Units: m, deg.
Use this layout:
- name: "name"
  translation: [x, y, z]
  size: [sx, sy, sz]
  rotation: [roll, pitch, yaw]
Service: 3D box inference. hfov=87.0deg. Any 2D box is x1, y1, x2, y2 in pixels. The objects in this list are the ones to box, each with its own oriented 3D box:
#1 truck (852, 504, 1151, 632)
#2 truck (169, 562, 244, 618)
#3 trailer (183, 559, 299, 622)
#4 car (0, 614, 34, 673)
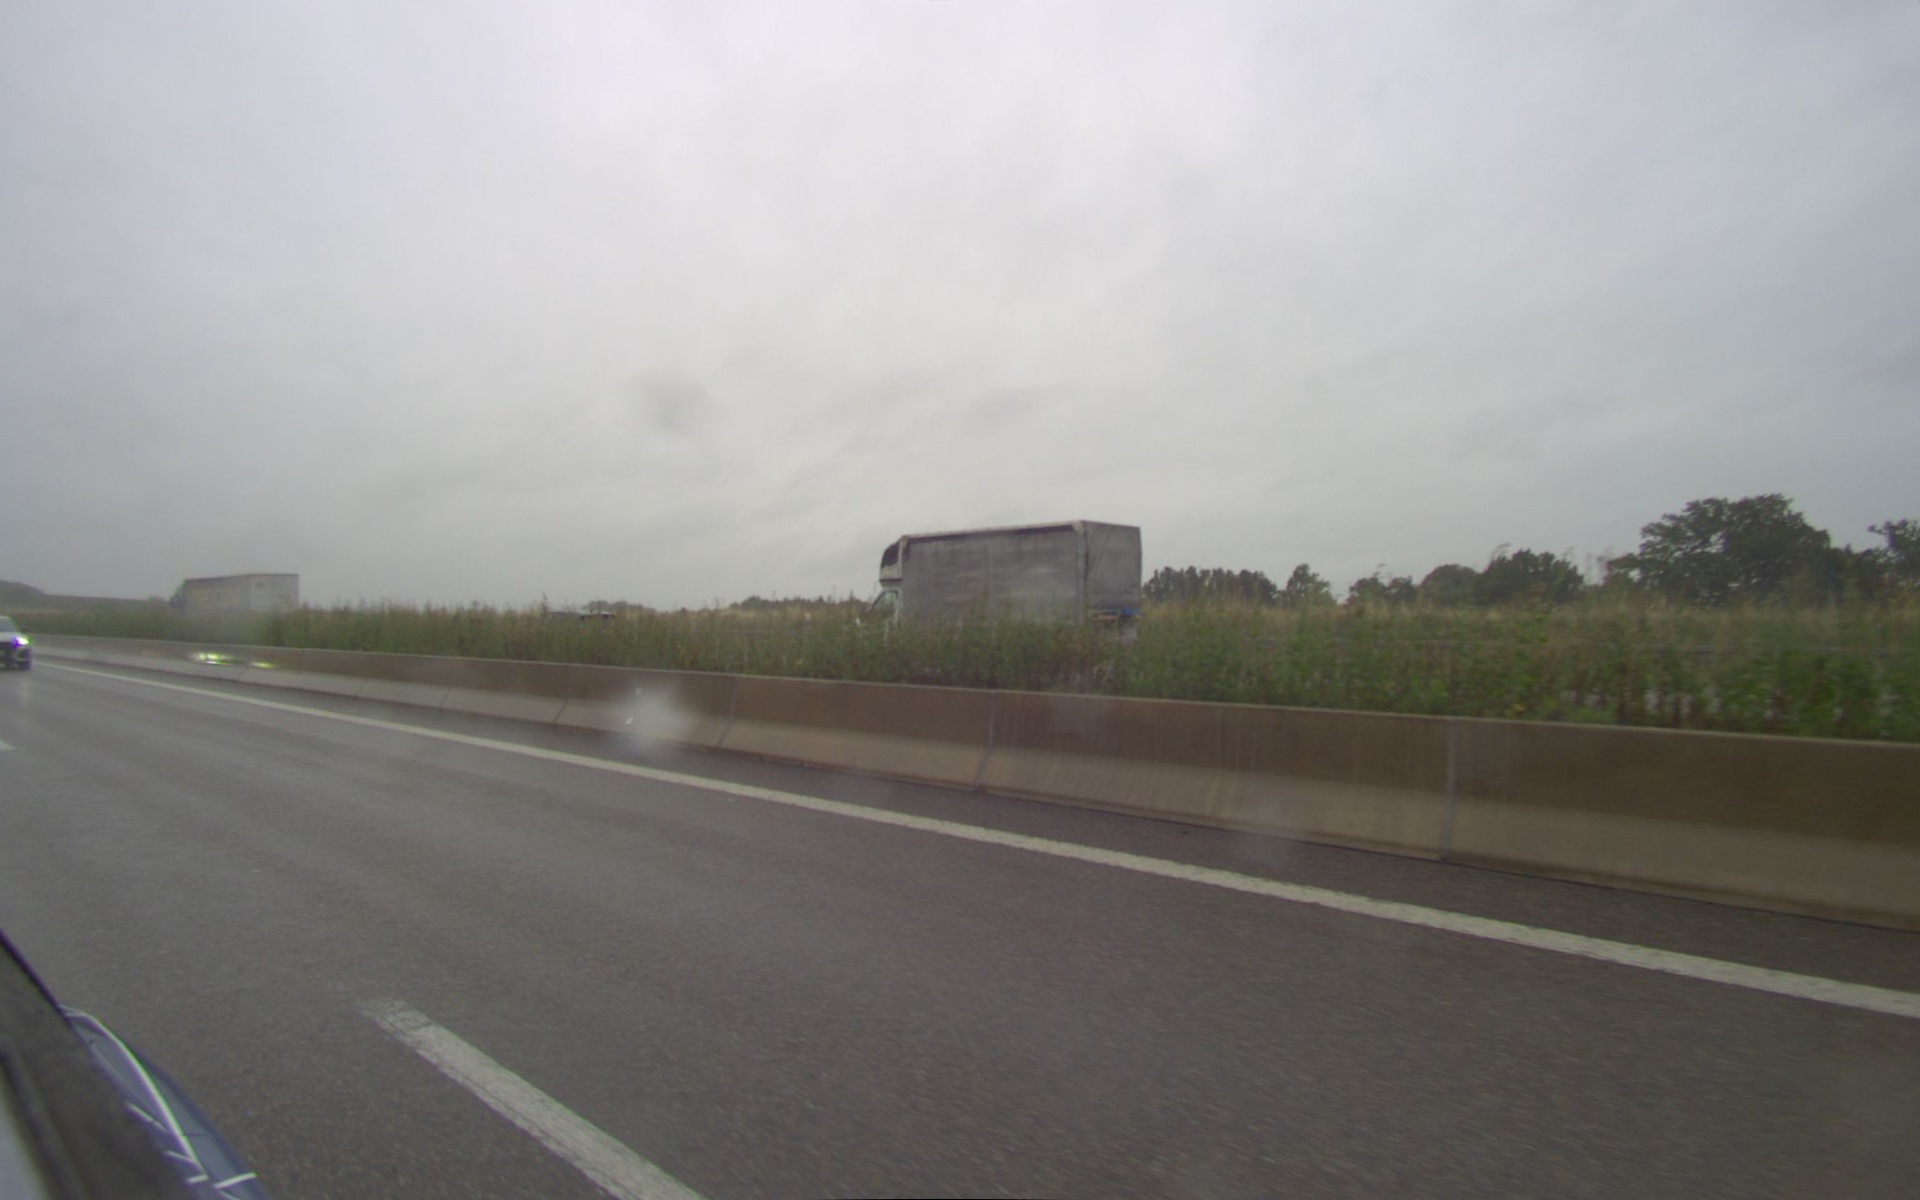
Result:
- name: "truck"
  translation: [0.732, -0.661, 22.596]
  size: [6.787, 2.466, 2.152]
  rotation: [1, 1, 40]
- name: "truck"
  translation: [-51.020, -0.697, 68.509]
  size: [5.460, 3.649, 2.919]
  rotation: [1, 1, 41]
- name: "trailer"
  translation: [-45.430, -0.610, 63.719]
  size: [12.481, 3.667, 2.962]
  rotation: [1, 1, 40]
- name: "car"
  translation: [-28.462, 1.239, 29.307]
  size: [3.998, 1.630, 1.973]
  rotation: [-1, -1, 41]
